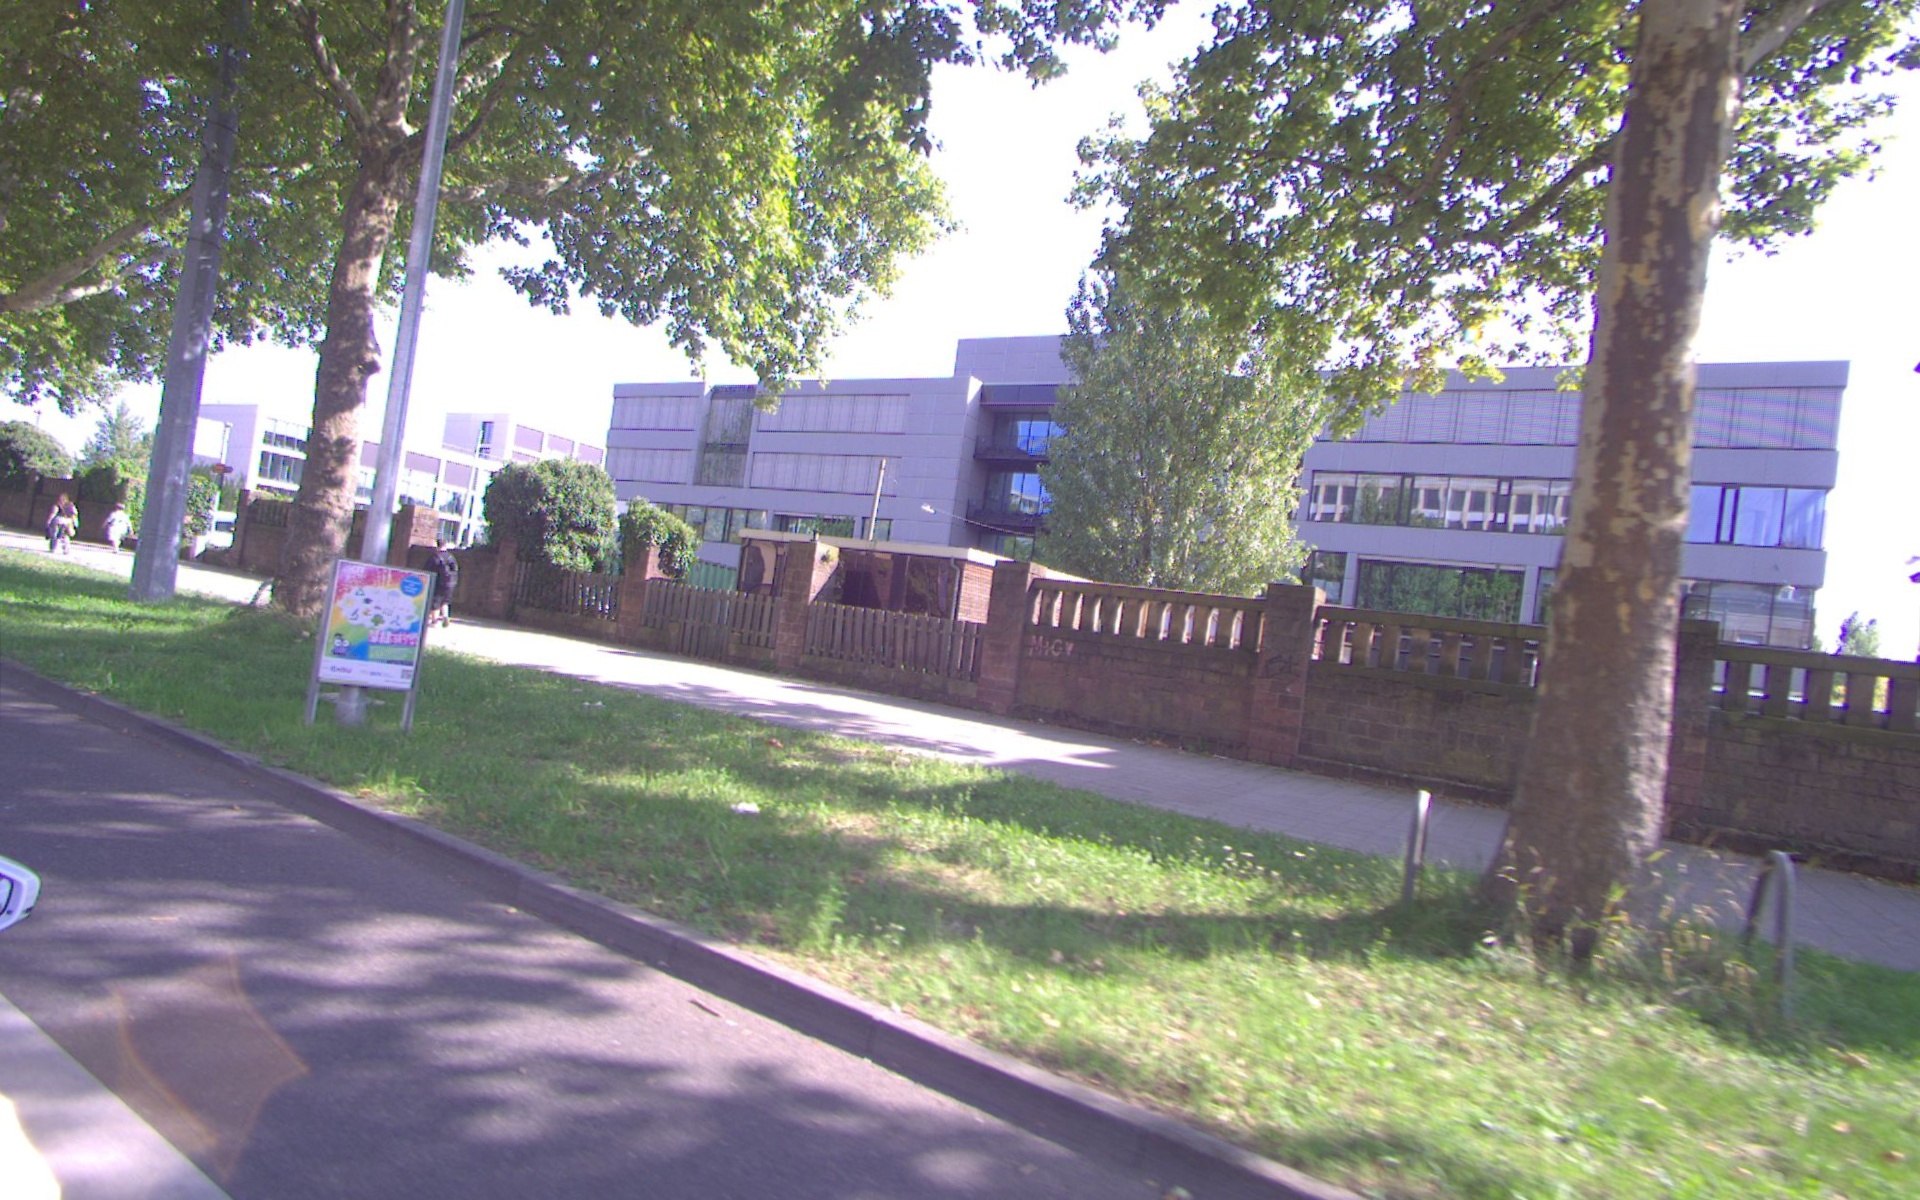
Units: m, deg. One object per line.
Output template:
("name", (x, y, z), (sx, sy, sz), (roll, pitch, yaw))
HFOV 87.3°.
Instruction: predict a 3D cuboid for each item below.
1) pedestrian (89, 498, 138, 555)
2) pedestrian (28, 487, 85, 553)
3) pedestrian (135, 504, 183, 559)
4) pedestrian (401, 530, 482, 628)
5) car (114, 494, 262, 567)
("pedestrian", (-26.457, -2.302, 31.435), (0.931, 1.624, 0.807), (7, 0, 32))
("pedestrian", (-24.645, -2.175, 27.439), (0.931, 1.656, 0.807), (7, 1, 32))
("pedestrian", (-25.808, -2.206, 32.419), (0.931, 1.624, 0.807), (7, 0, 32))
("pedestrian", (-9.938, -0.403, 19.281), (0.995, 1.706, 0.820), (7, 0, 32))
("car", (-34.681, -3.085, 45.317), (2.022, 2.343, 4.674), (7, -3, 31))
